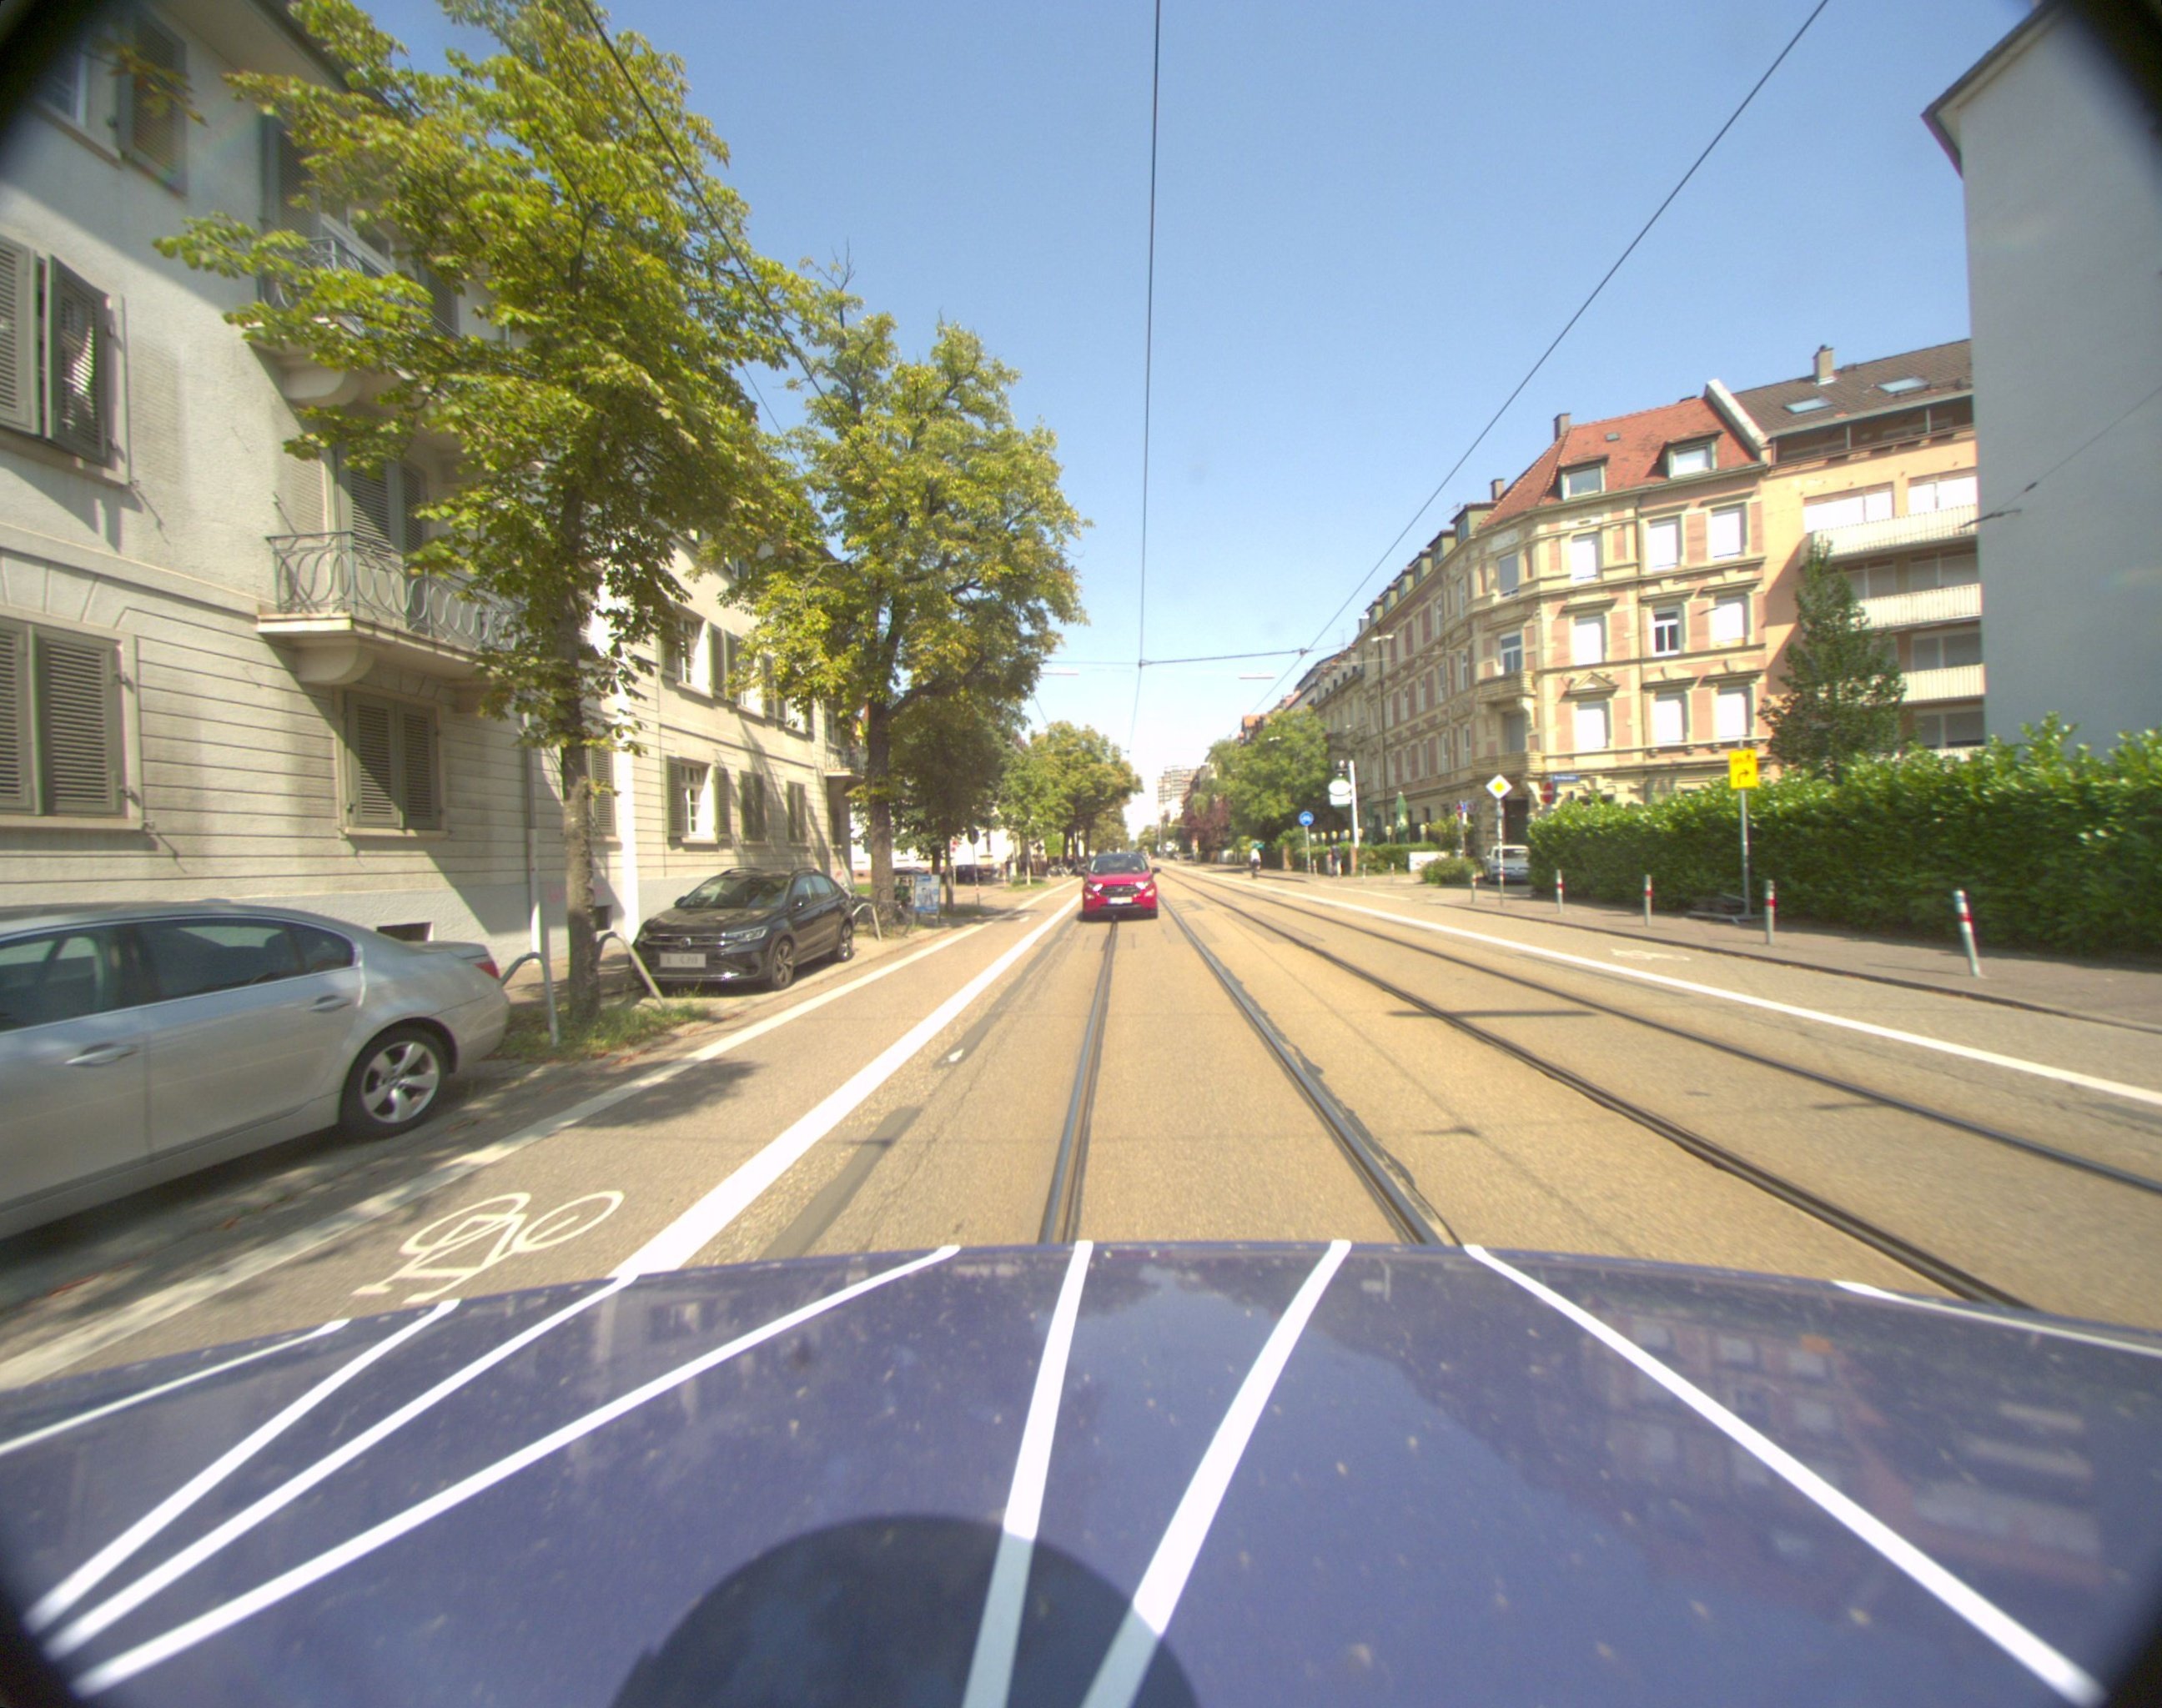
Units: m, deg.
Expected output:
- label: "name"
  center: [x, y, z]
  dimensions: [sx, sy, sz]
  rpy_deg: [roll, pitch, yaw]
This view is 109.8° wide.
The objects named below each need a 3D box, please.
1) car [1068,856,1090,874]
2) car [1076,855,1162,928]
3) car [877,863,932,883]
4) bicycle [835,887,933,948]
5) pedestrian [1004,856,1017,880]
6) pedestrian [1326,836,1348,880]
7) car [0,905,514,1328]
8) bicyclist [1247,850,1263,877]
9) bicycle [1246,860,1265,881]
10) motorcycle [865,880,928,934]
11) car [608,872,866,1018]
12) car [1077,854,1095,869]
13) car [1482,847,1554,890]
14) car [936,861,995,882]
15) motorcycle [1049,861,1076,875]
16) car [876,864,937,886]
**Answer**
- label: "car"
  center: [-0.185, 0.968, 67.499]
  dimensions: [1.598, 1.489, 4.053]
  rpy_deg: [-2, 0, 4]
- label: "car"
  center: [1.018, 0.836, 18.847]
  dimensions: [1.815, 1.542, 4.022]
  rpy_deg: [-3, 0, 5]
- label: "car"
  center: [-14.268, 1.511, 61.333]
  dimensions: [3.989, 1.430, 1.979]
  rpy_deg: [-2, 0, 31]
- label: "bicycle"
  center: [-3.954, 1.263, 15.327]
  dimensions: [1.759, 1.116, 0.656]
  rpy_deg: [-2, 1, 3]
- label: "pedestrian"
  center: [-5.175, 1.023, 55.649]
  dimensions: [0.749, 1.775, 0.632]
  rpy_deg: [-2, 1, 4]
- label: "pedestrian"
  center: [12.074, 0.195, 35.801]
  dimensions: [0.657, 2.002, 0.974]
  rpy_deg: [-2, 0, 0]
- label: "car"
  center: [-5.046, 1.118, 3.090]
  dimensions: [1.787, 1.442, 4.751]
  rpy_deg: [-2, 0, 1]
- label: "bicyclist"
  center: [9.576, 0.519, 41.778]
  dimensions: [0.657, 1.420, 0.974]
  rpy_deg: [-2, 0, 2]
- label: "bicycle"
  center: [9.585, 0.911, 41.782]
  dimensions: [0.642, 1.070, 1.915]
  rpy_deg: [-2, 0, 2]
- label: "motorcycle"
  center: [-4.498, 1.269, 18.714]
  dimensions: [0.829, 1.105, 2.498]
  rpy_deg: [-2, 0, 1]
- label: "car"
  center: [-4.527, 1.088, 10.834]
  dimensions: [1.667, 1.498, 4.434]
  rpy_deg: [-2, 0, -1]
- label: "car"
  center: [0.572, 0.838, 82.272]
  dimensions: [1.598, 1.489, 4.053]
  rpy_deg: [-2, 0, 4]
- label: "car"
  center: [16.968, 0.521, 29.402]
  dimensions: [1.994, 1.480, 4.152]
  rpy_deg: [-2, 0, 35]
- label: "car"
  center: [-8.860, 1.332, 58.160]
  dimensions: [3.990, 1.435, 1.978]
  rpy_deg: [-2, 0, 26]
- label: "motorcycle"
  center: [-1.455, 1.113, 60.472]
  dimensions: [1.999, 1.009, 0.797]
  rpy_deg: [-2, 0, 3]
- label: "car"
  center: [-12.376, 1.500, 53.822]
  dimensions: [3.989, 1.422, 1.841]
  rpy_deg: [-2, 0, 31]
